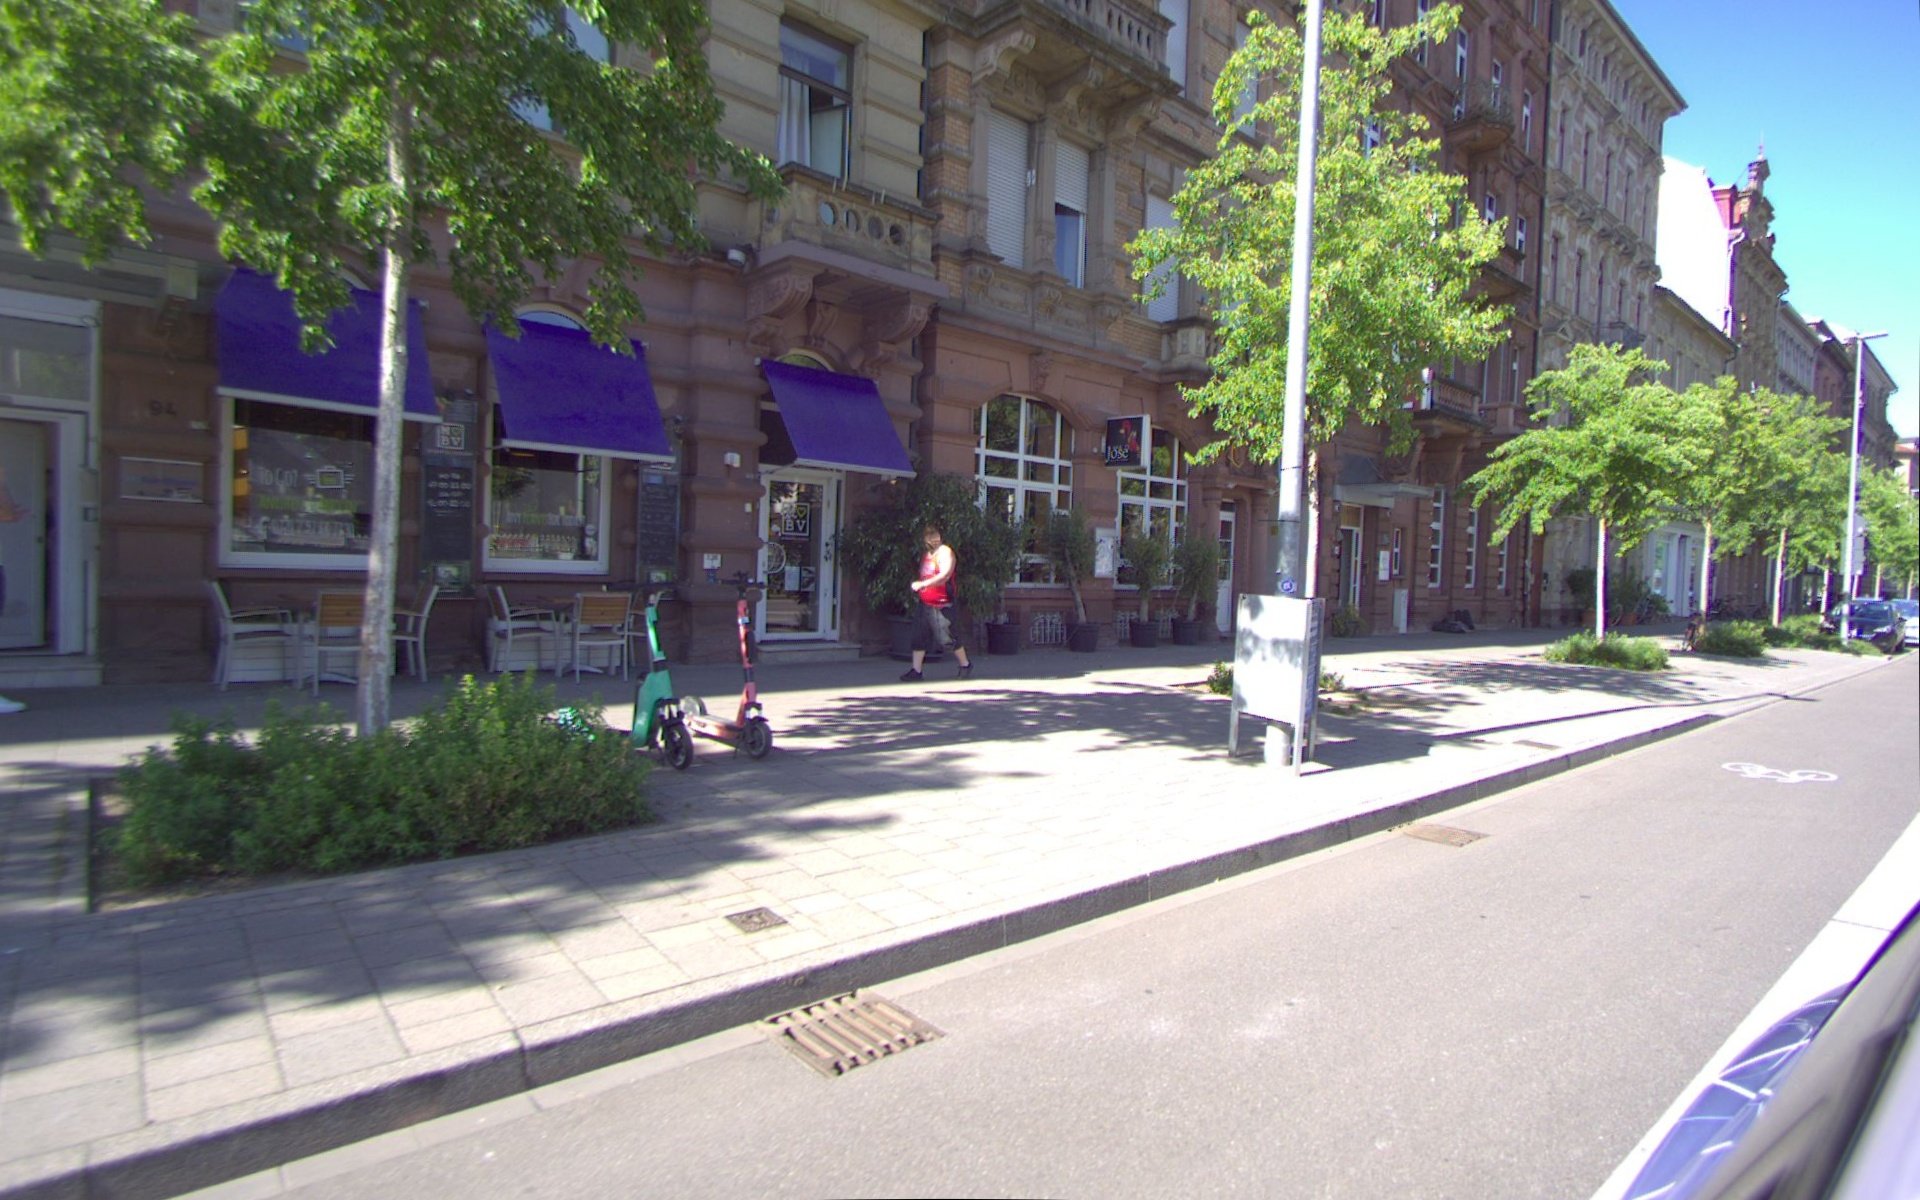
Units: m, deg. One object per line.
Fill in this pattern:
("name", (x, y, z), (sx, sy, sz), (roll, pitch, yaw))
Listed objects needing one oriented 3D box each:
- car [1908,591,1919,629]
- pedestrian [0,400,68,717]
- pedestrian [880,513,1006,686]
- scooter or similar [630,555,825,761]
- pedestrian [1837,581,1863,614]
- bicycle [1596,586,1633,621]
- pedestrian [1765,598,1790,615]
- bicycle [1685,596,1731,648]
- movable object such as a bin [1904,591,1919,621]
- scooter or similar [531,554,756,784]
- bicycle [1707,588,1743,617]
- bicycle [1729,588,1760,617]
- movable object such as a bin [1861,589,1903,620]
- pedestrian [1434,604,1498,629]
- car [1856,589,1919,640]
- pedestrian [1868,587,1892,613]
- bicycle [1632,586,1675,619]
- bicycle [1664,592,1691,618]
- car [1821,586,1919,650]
("car", (41.166, 0.465, 42.462), (4.377, 1.494, 1.768), (-1, 6, -45))
("pedestrian", (-6.634, -0.267, 6.690), (1.028, 2.038, 0.819), (-3, 3, -42))
("pedestrian", (-0.195, -0.039, 11.097), (0.851, 1.751, 0.998), (-1, 6, -42))
("scooter or similar", (-1.676, 0.353, 7.147), (0.592, 1.231, 1.475), (2, 4, -45))
("pedestrian", (55.002, -0.138, 62.515), (1.077, 1.943, 0.893), (0, 4, -37))
("bicycle", (21.734, 0.107, 33.596), (2.021, 1.103, 0.482), (0, 3, -42))
("pedestrian", (41.118, 0.324, 50.892), (0.867, 0.828, 0.969), (2, 2, 35))
("bicycle", (18.347, 0.517, 24.800), (0.650, 1.133, 2.139), (5, 4, 42))
("movable object such as a bin", (49.590, 0.324, 52.051), (1.613, 1.482, 1.275), (3, -1, -37))
("scooter or similar", (-2.043, 0.374, 6.444), (1.471, 1.231, 0.593), (6, 3, 38))
("bicycle", (33.060, 0.095, 43.752), (0.877, 1.118, 2.146), (7, 5, 45))
("bicycle", (35.395, 0.093, 45.658), (1.770, 1.215, 0.749), (-1, 4, -43))
("movable object such as a bin", (48.410, 0.222, 53.135), (1.718, 1.513, 1.377), (-1, 5, -41))
("pedestrian", (12.673, 0.401, 25.323), (1.973, 0.560, 0.774), (0, 3, -43))
("car", (31.900, 0.466, 34.088), (5.017, 1.513, 1.955), (0, 4, -42))
("pedestrian", (58.195, 0.022, 64.019), (1.061, 1.586, 0.952), (2, 2, -43))
("bicycle", (24.956, 0.076, 36.397), (2.161, 1.103, 0.722), (0, 3, -42))
("bicycle", (28.090, 0.190, 39.600), (1.978, 0.956, 0.448), (0, 2, -43))
("car", (26.918, 0.461, 29.730), (4.149, 1.588, 1.887), (-1, 5, -43))
